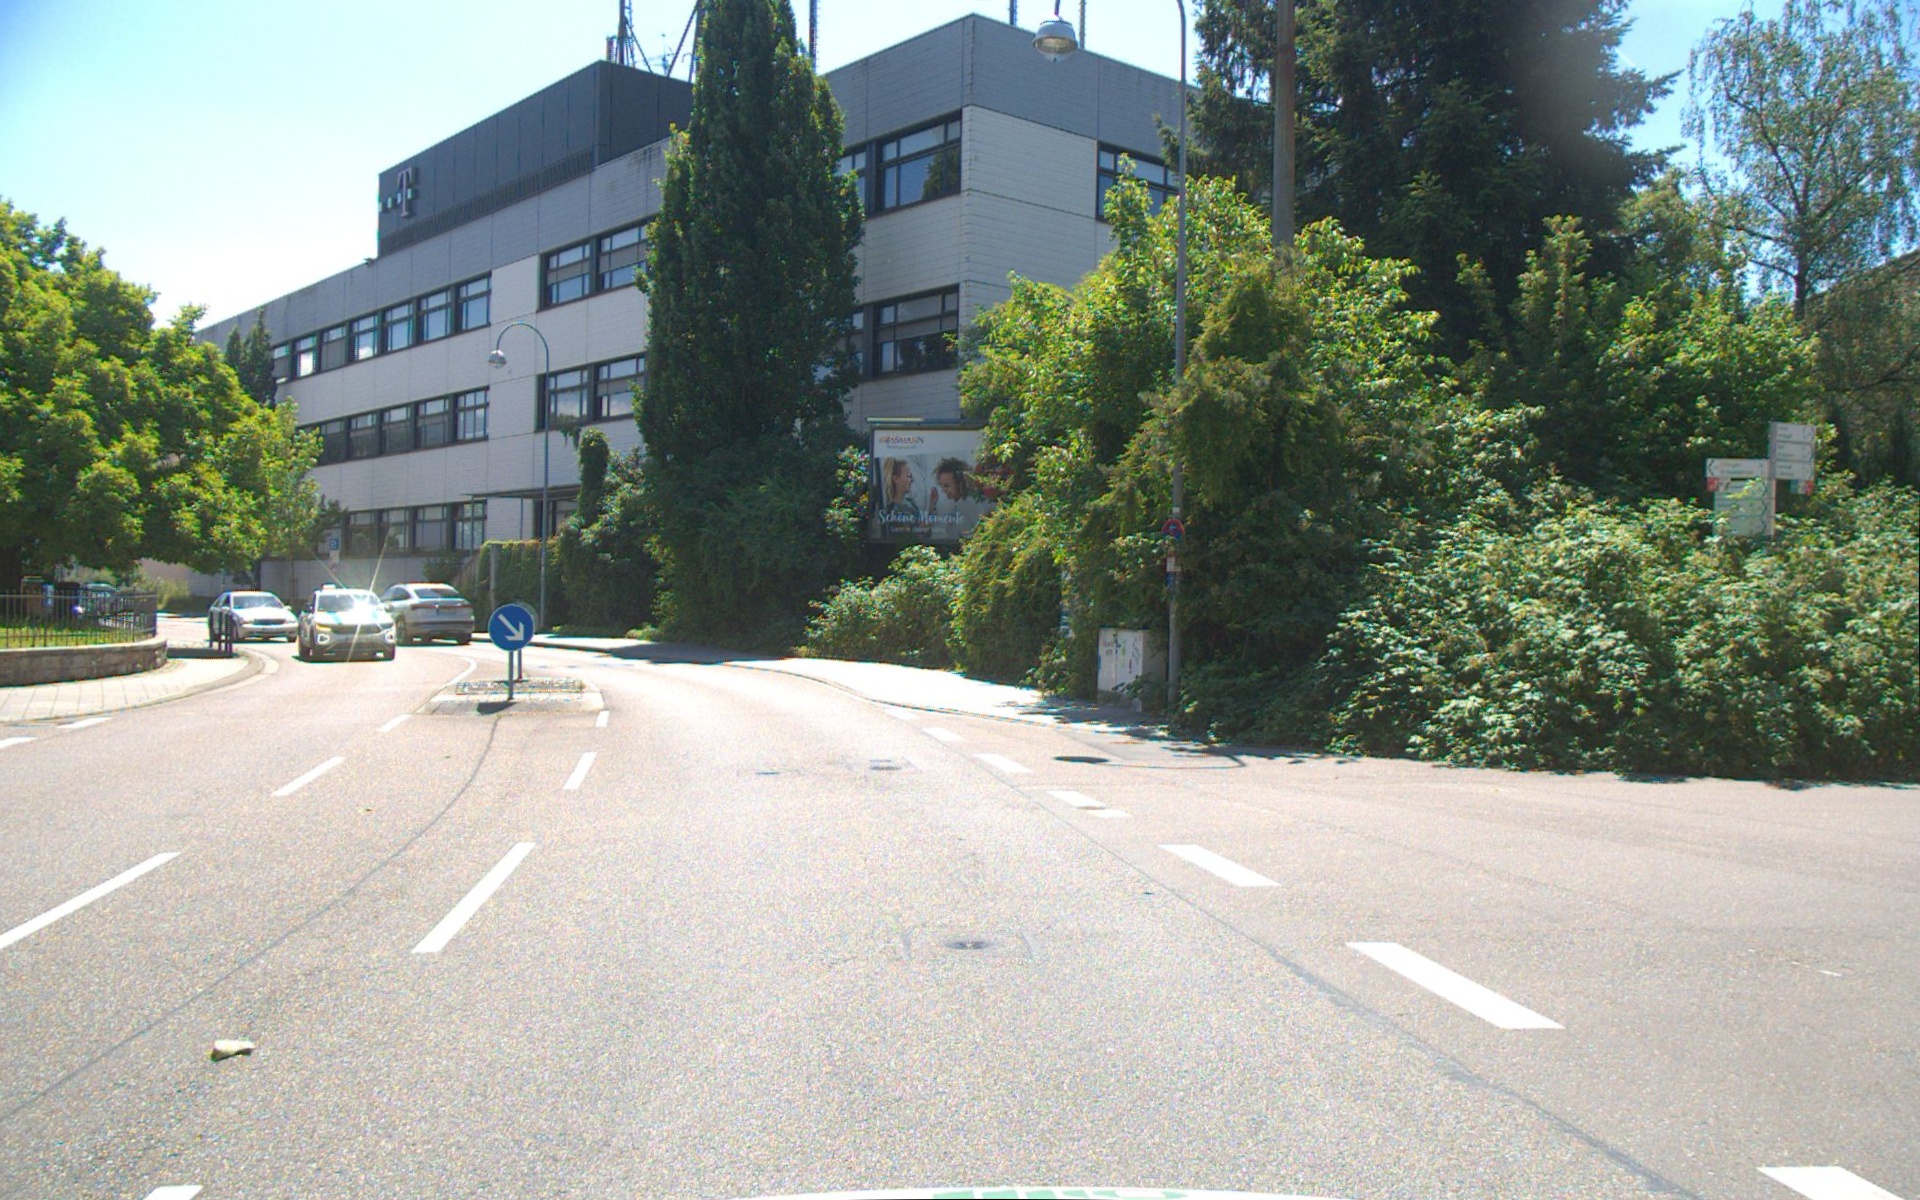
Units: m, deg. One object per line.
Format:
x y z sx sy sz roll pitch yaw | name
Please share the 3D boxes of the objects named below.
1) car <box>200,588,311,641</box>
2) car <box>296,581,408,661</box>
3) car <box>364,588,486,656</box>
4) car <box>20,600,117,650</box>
-20.639 0.402 48.387 1.749 1.460 4.239 -1 1 -41 | car
-14.076 0.425 38.152 1.851 1.651 4.264 0 2 -28 | car
-14.994 0.573 46.205 1.922 1.642 4.414 -5 4 -36 | car
-29.779 0.816 55.188 1.914 1.462 4.592 4 -2 -40 | car
